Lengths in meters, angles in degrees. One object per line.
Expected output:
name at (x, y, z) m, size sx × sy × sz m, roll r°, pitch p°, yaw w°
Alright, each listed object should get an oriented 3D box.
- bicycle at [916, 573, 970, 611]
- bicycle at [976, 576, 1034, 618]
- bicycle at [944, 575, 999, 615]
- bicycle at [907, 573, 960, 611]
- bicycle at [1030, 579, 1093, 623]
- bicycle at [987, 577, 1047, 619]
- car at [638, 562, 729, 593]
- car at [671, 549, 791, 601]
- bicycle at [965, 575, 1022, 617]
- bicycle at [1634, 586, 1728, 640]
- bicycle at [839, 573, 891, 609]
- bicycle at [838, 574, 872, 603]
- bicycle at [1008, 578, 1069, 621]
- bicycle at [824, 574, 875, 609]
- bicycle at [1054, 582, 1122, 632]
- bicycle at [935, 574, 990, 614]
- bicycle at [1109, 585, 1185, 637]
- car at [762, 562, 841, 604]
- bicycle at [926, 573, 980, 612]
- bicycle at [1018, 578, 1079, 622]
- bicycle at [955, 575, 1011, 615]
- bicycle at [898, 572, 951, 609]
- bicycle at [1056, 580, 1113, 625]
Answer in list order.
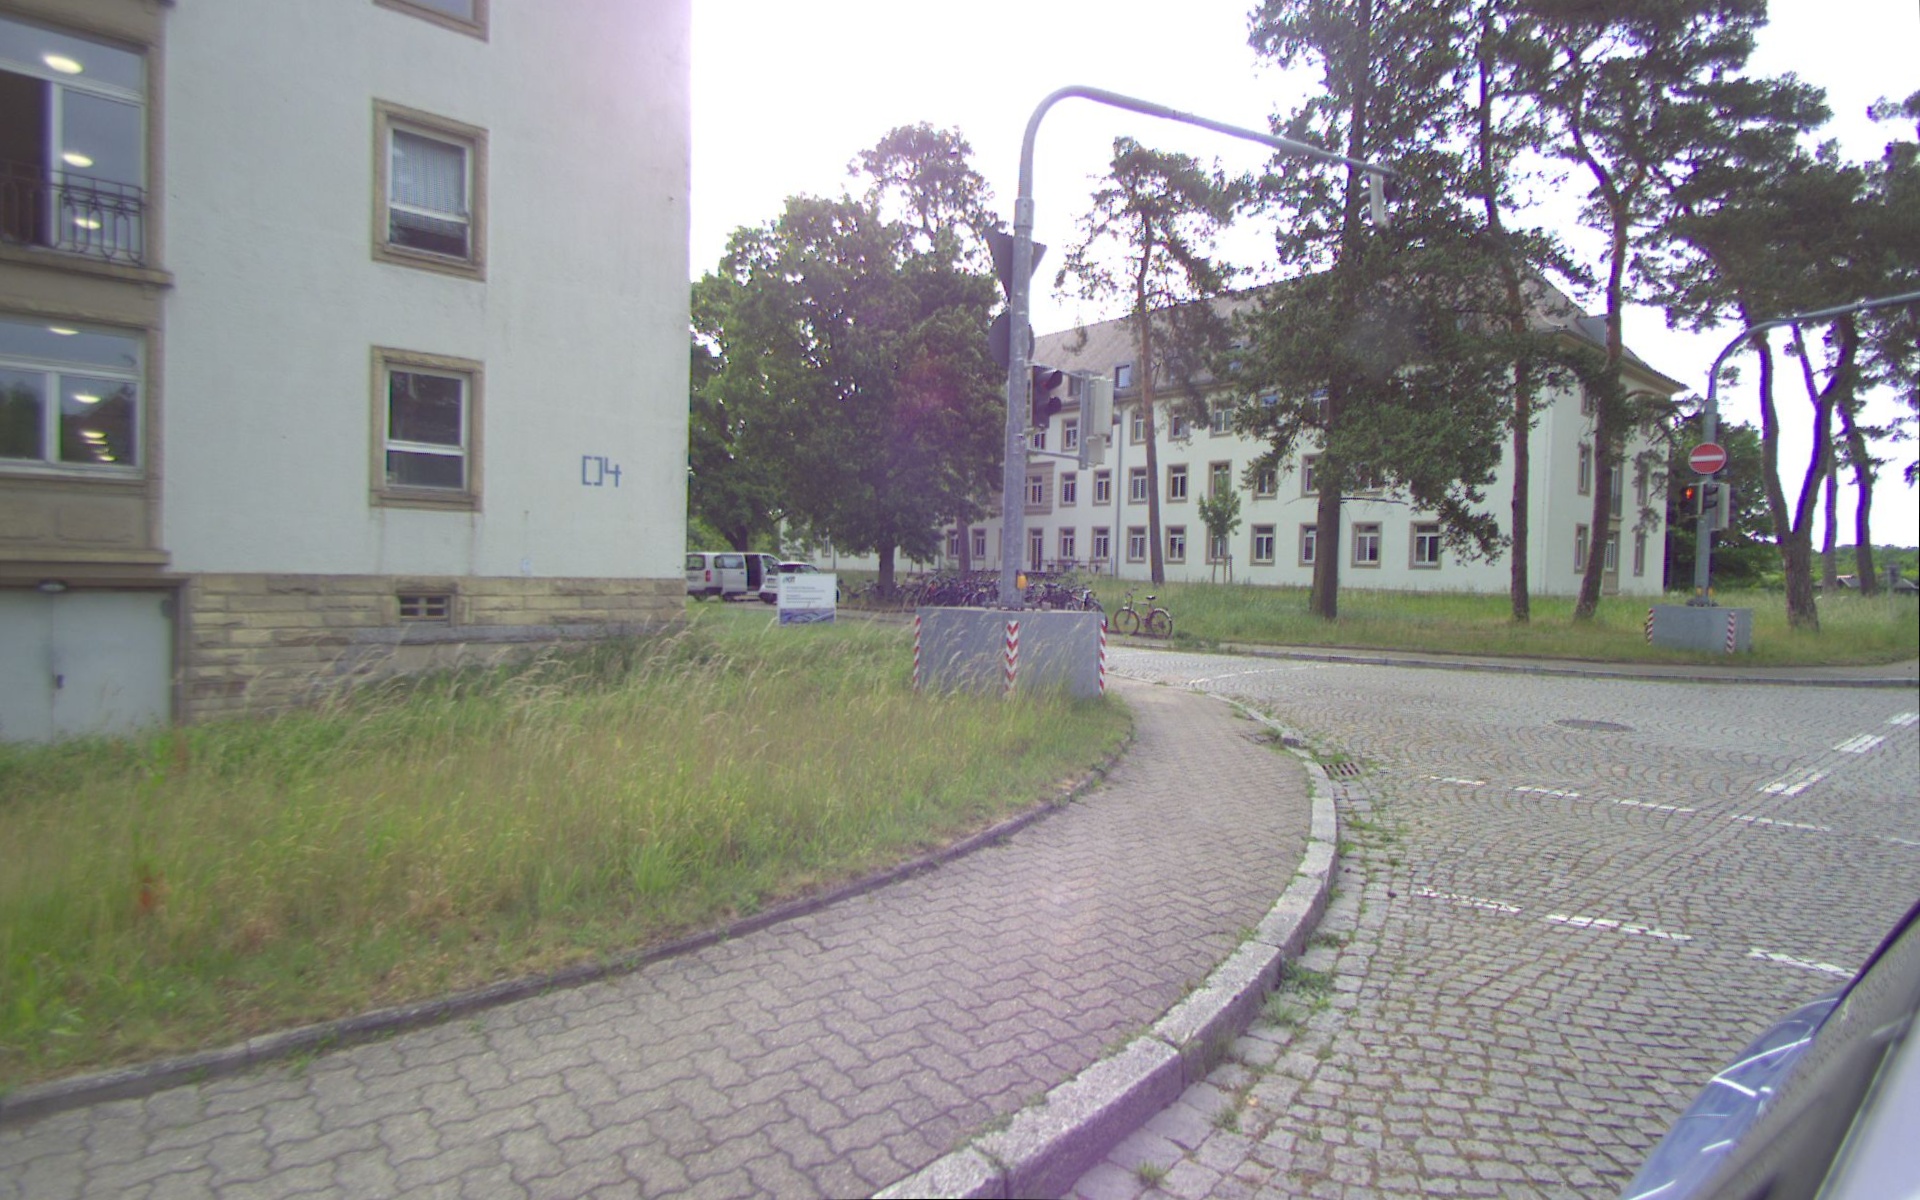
bicycle at (-0.507, -0.250, 30.910) m, size 1.699 × 1.141 × 0.448 m, roll 0°, pitch 2°, yaw -37°
bicycle at (1.280, -0.088, 28.544) m, size 1.699 × 1.141 × 0.448 m, roll 0°, pitch 2°, yaw -37°
bicycle at (0.351, -0.147, 29.764) m, size 1.699 × 1.141 × 0.448 m, roll 0°, pitch 2°, yaw -37°
bicycle at (-0.817, -0.253, 31.304) m, size 1.699 × 1.141 × 0.448 m, roll 0°, pitch 2°, yaw -37°
bicycle at (2.683, 0.026, 26.705) m, size 1.669 × 1.141 × 0.477 m, roll 0°, pitch 2°, yaw -32°
bicycle at (1.595, -0.052, 28.092) m, size 1.697 × 1.141 × 0.448 m, roll 0°, pitch 2°, yaw -32°
car at (-12.940, -1.059, 47.511) m, size 1.810 × 1.379 × 3.716 m, roll 2°, pitch 2°, yaw 44°
car at (-8.880, -0.968, 39.534) m, size 2.000 × 1.902 × 4.327 m, roll 2°, pitch 2°, yaw 37°
bicycle at (0.973, -0.119, 28.951) m, size 1.699 × 1.141 × 0.448 m, roll 0°, pitch 2°, yaw -37°
bicycle at (15.385, 0.271, 21.613) m, size 1.623 × 1.099 × 0.616 m, roll 1°, pitch 1°, yaw -8°
bicycle at (-3.126, -0.296, 33.357) m, size 1.699 × 1.141 × 0.448 m, roll 0°, pitch 2°, yaw -37°
bicycle at (-4.282, -0.474, 41.509) m, size 0.475 × 1.141 × 1.580 m, roll 2°, pitch 2°, yaw 34°
bicycle at (2.134, -0.008, 27.511) m, size 1.697 × 1.141 × 0.448 m, roll 0°, pitch 2°, yaw -32°
bicycle at (-3.665, -0.296, 33.693) m, size 1.699 × 1.141 × 0.448 m, roll 0°, pitch 2°, yaw -37°
bicycle at (3.027, 0.148, 24.118) m, size 0.603 × 1.099 × 1.656 m, roll 0°, pitch 2°, yaw -37°
bicycle at (0.071, -0.177, 30.164) m, size 1.699 × 1.141 × 0.448 m, roll 0°, pitch 2°, yaw -37°
bicycle at (4.212, 0.225, 22.898) m, size 0.604 × 1.099 × 1.653 m, roll 0°, pitch 2°, yaw -43°
car at (-5.885, -0.627, 37.685) m, size 2.615 × 1.488 × 1.344 m, roll 0°, pitch 2°, yaw -41°
bicycle at (-0.209, -0.221, 30.556) m, size 1.699 × 1.141 × 0.448 m, roll 0°, pitch 2°, yaw -37°
bicycle at (2.388, -0.004, 27.101) m, size 1.668 × 1.141 × 0.448 m, roll 0°, pitch 2°, yaw -32°
bicycle at (0.689, -0.144, 29.342) m, size 1.699 × 1.141 × 0.448 m, roll 0°, pitch 2°, yaw -37°
bicycle at (-1.092, -0.297, 31.644) m, size 1.699 × 1.141 × 0.448 m, roll 0°, pitch 2°, yaw -37°
bicycle at (3.253, 0.062, 26.373) m, size 1.628 × 1.141 × 0.476 m, roll 0°, pitch 2°, yaw -41°
